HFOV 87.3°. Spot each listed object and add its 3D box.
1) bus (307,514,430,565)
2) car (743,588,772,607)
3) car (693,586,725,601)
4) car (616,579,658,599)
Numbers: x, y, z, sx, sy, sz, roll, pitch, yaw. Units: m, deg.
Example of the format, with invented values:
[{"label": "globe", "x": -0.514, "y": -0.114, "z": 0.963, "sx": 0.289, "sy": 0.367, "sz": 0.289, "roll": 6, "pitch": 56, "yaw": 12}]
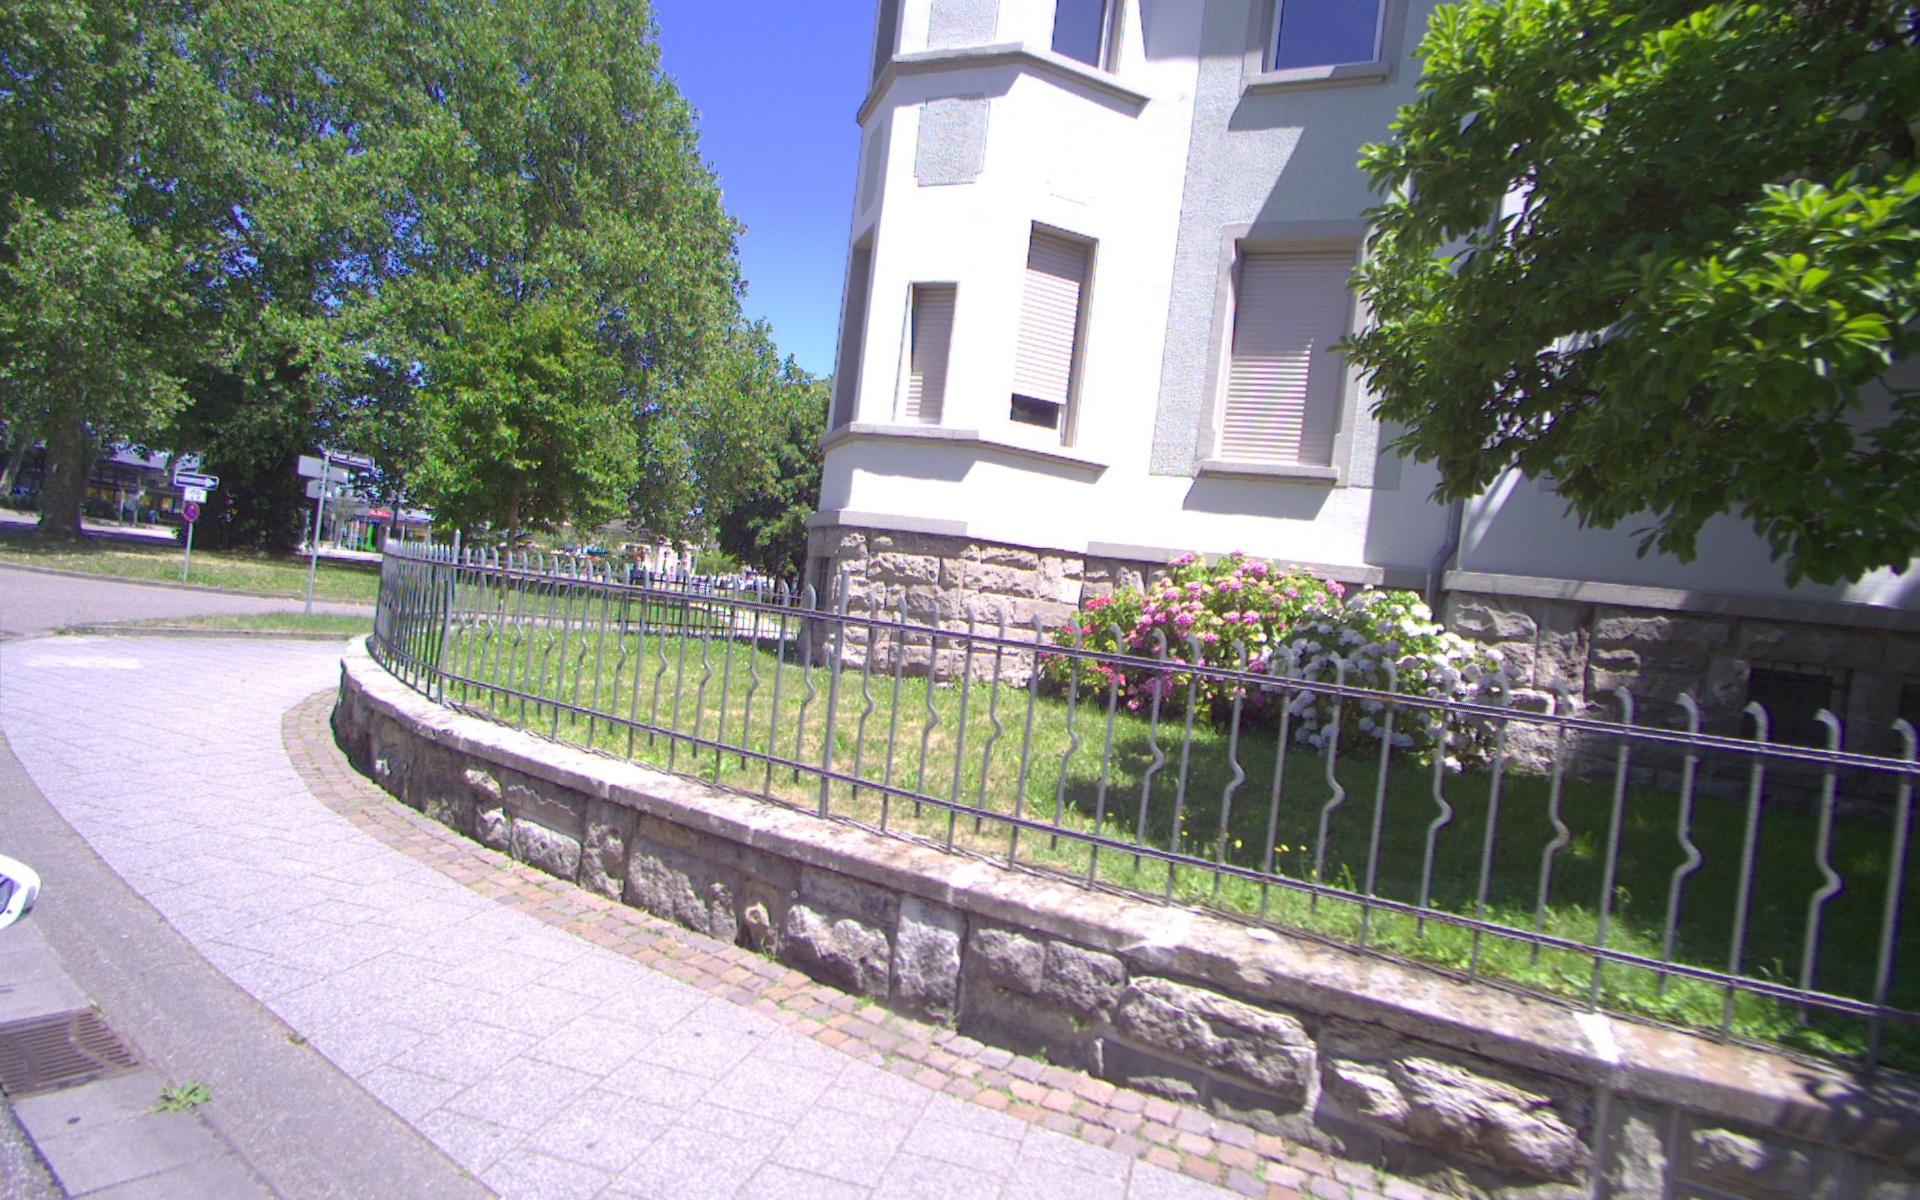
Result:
[{"label": "bus", "x": -57.675, "y": -5.774, "z": 98.678, "sx": 2.128, "sy": 3.569, "sz": 12.230, "roll": 7, "pitch": -1, "yaw": 14}, {"label": "car", "x": -19.754, "y": -0.216, "z": 98.387, "sx": 1.691, "sy": 1.496, "sz": 3.708, "roll": 6, "pitch": -1, "yaw": 5}, {"label": "car", "x": -28.540, "y": -0.700, "z": 114.511, "sx": 1.786, "sy": 1.462, "sz": 4.159, "roll": 3, "pitch": -1, "yaw": 14}, {"label": "car", "x": -31.902, "y": -1.073, "z": 99.500, "sx": 1.691, "sy": 1.496, "sz": 4.789, "roll": 6, "pitch": -1, "yaw": 13}]
